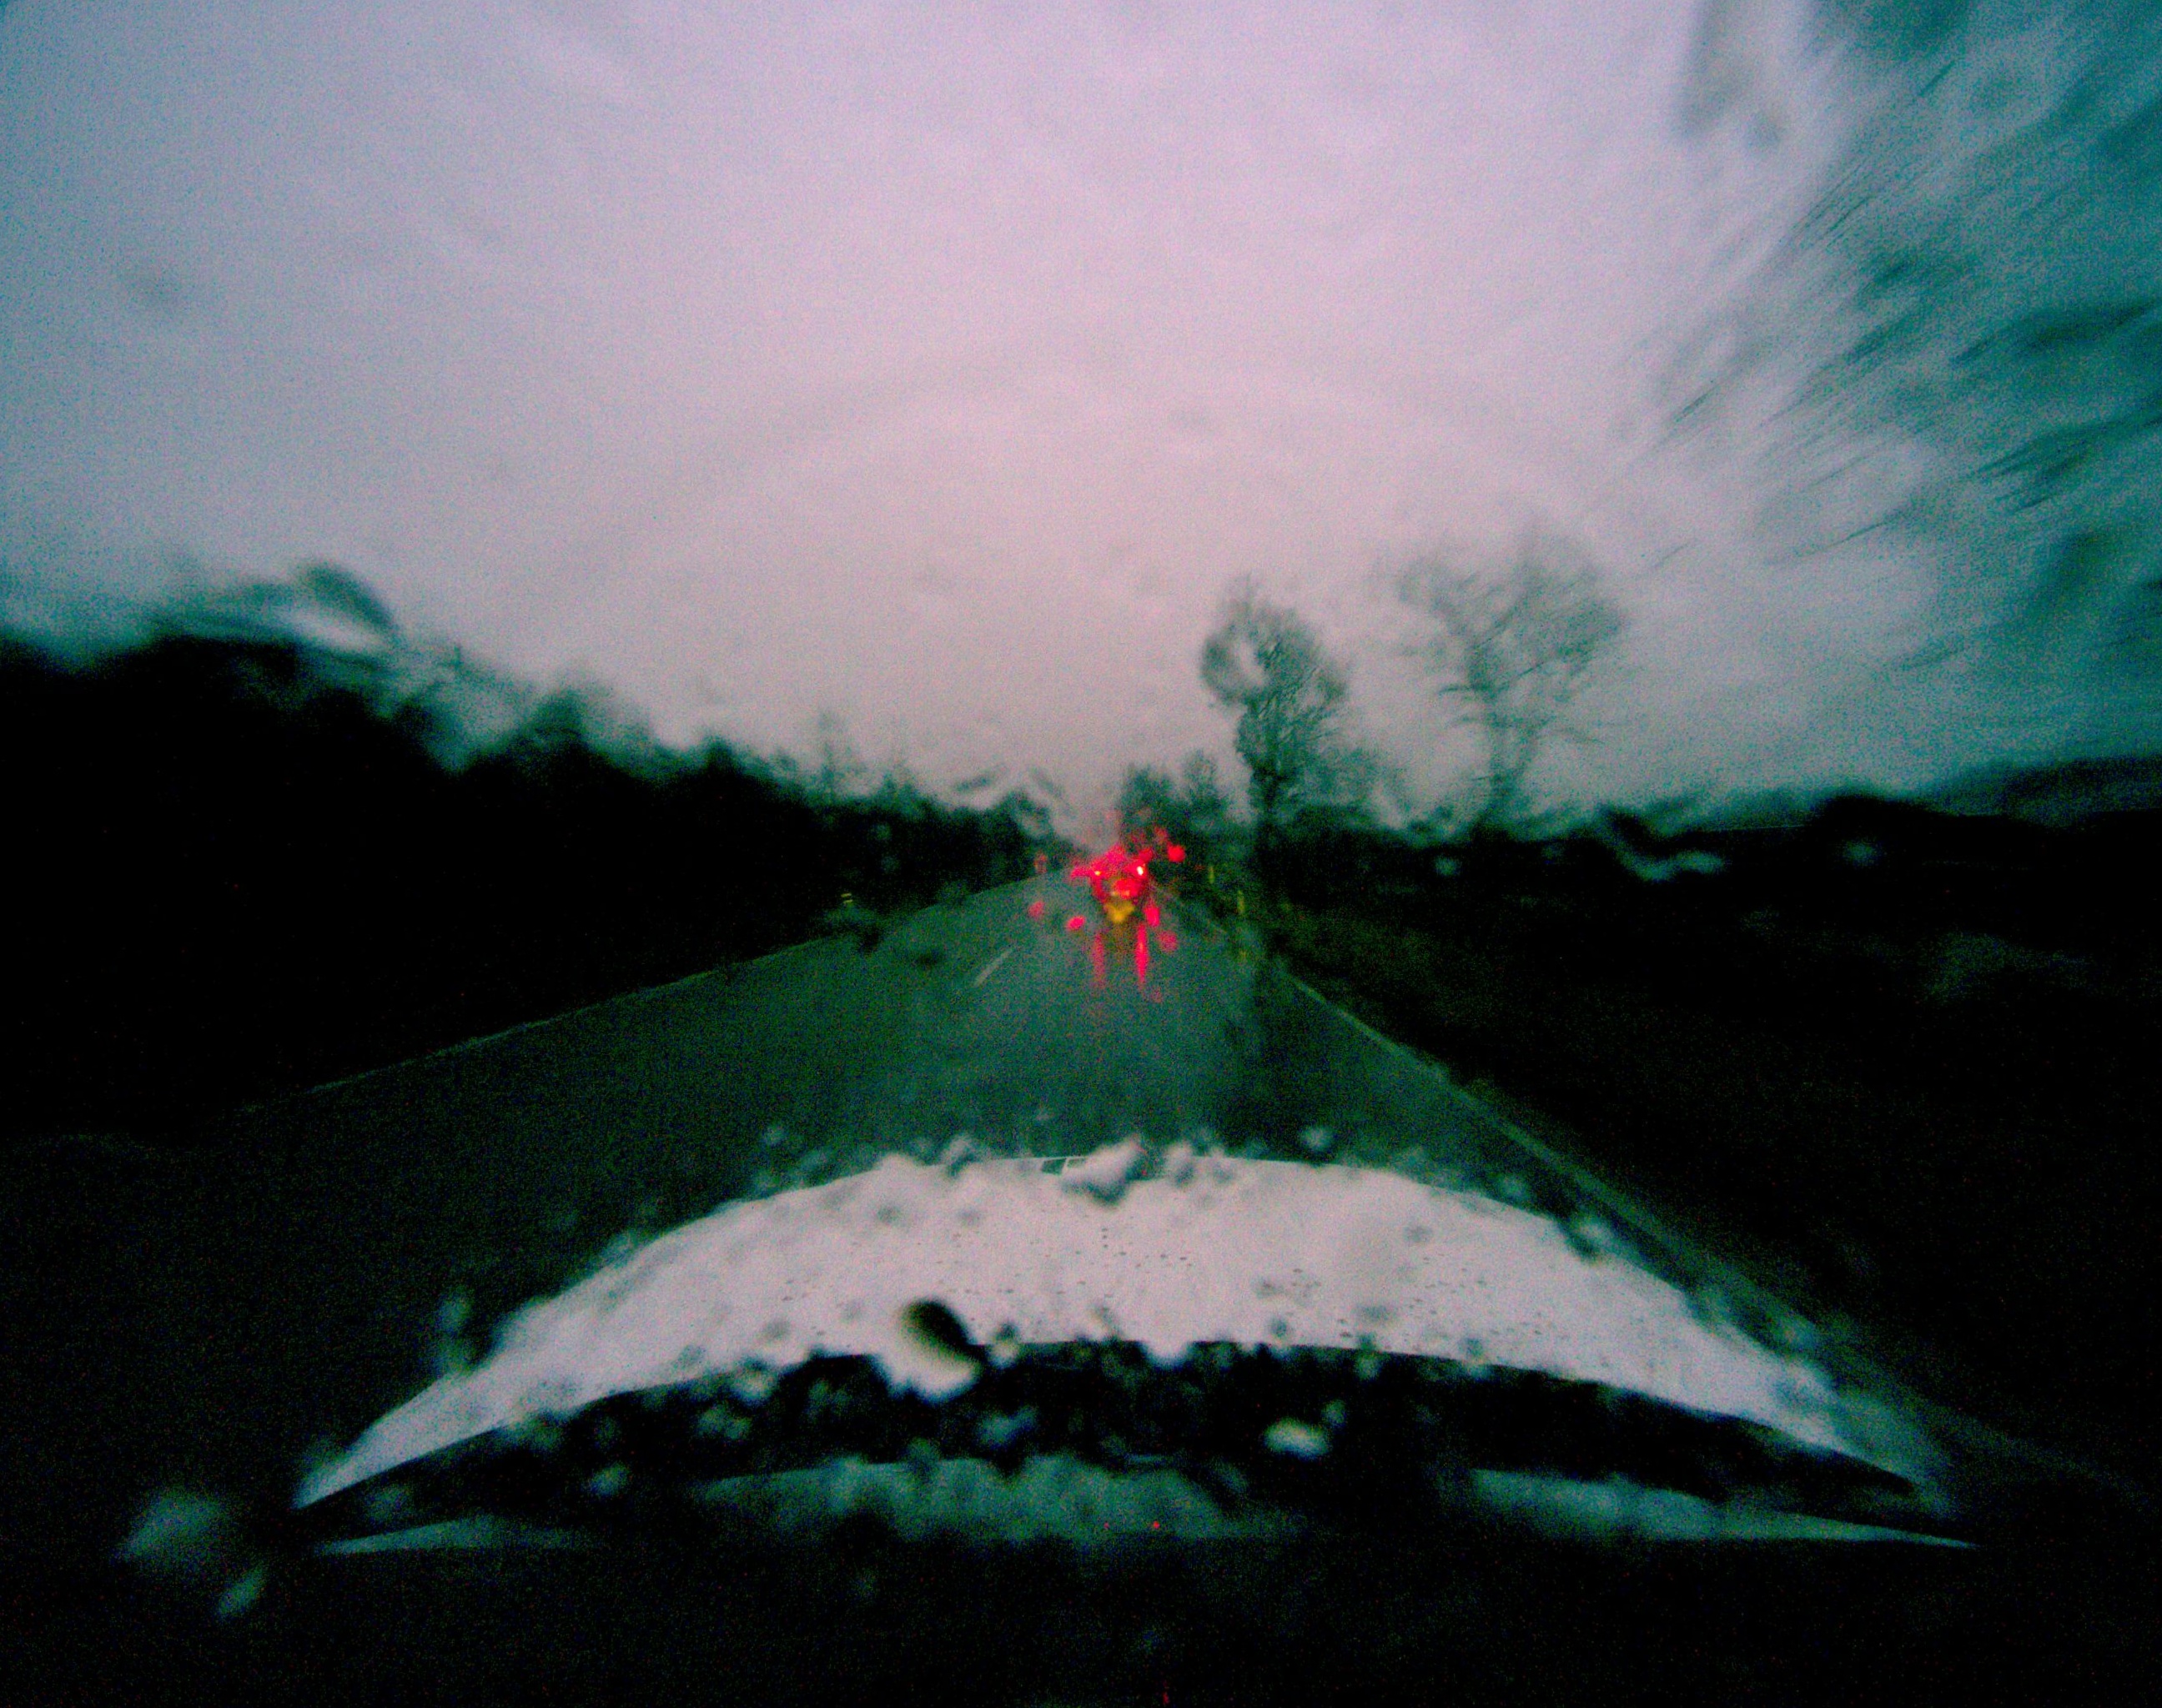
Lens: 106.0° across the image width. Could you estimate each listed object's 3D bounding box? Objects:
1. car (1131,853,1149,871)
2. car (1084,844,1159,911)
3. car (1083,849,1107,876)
[{"bbox_3d":[5.252,0.686,72.152,1.556,1.591,3.493,0,0,5],"label":"car"},{"bbox_3d":[1.203,0.630,23.802,1.985,1.784,4.004,0,0,3],"label":"car"},{"bbox_3d":[1.054,0.563,58.649,1.568,1.875,3.712,0,0,3],"label":"car"}]
